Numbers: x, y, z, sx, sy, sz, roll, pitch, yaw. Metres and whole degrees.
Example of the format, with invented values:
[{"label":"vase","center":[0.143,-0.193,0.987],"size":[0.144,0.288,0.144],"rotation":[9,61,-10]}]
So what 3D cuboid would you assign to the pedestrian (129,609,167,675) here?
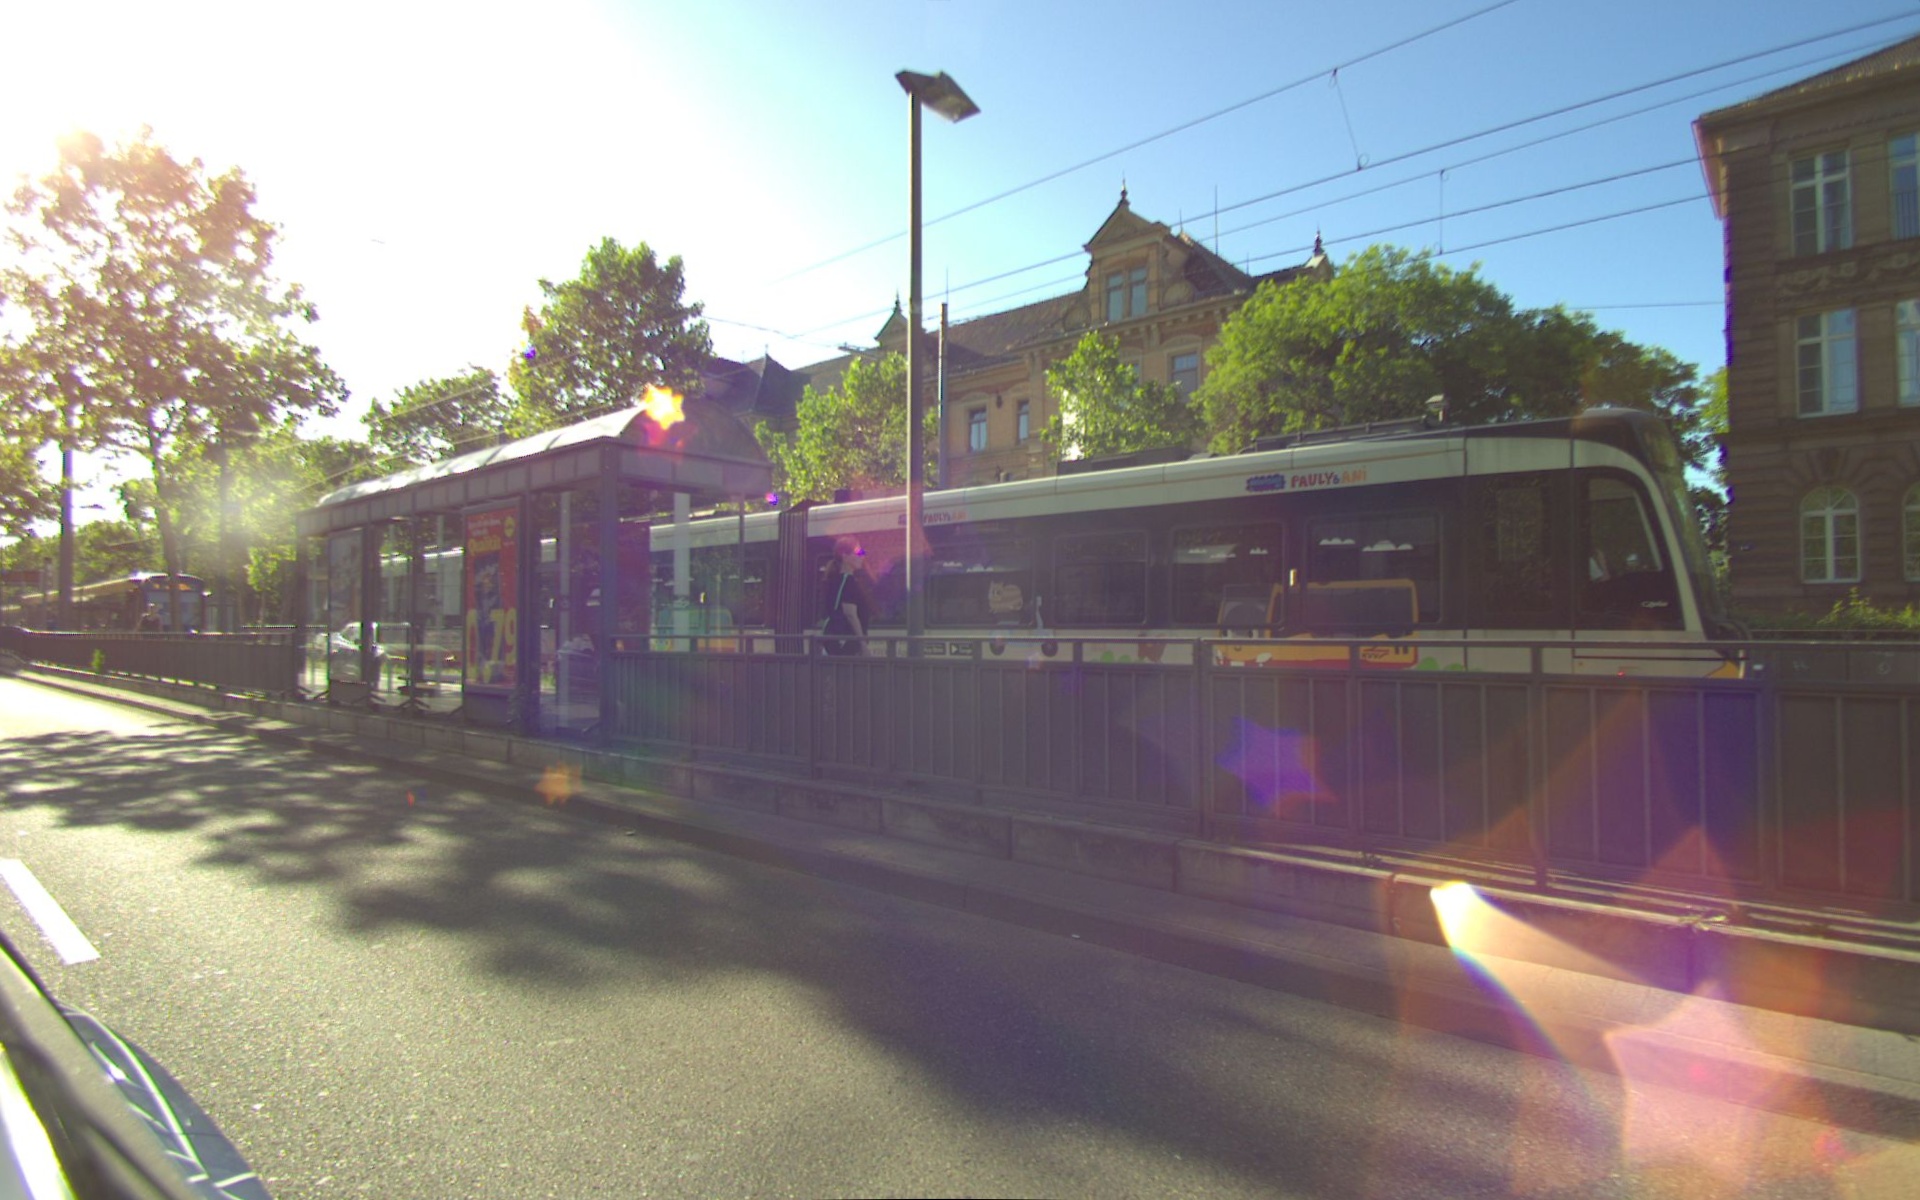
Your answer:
[{"label":"pedestrian","center":[-21.405,1.104,26.681],"size":[0.624,1.723,0.674],"rotation":[-2,-2,41]}]

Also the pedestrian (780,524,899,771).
[{"label":"pedestrian","center":[-0.855,0.322,7.189],"size":[0.621,1.652,0.560],"rotation":[-2,-2,43]}]

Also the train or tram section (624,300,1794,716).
[{"label":"train or tram section","center":[0.916,-0.527,15.537],"size":[18.207,3.460,2.819],"rotation":[-2,-1,42]}]

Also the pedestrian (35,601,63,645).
[{"label":"pedestrian","center":[-34.122,0.871,37.908],"size":[0.761,1.648,0.691],"rotation":[-2,-2,41]}]

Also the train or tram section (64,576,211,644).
[{"label":"train or tram section","center":[-36.473,0.591,44.506],"size":[15.668,2.584,2.535],"rotation":[-2,-2,42]}]

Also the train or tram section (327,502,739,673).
[{"label":"train or tram section","center":[-12.717,-0.009,27.711],"size":[18.268,3.460,2.840],"rotation":[-2,-1,42]}]

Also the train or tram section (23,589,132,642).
[{"label":"train or tram section","center":[-47.950,0.976,54.724],"size":[15.067,2.551,2.535],"rotation":[-2,-2,42]}]
